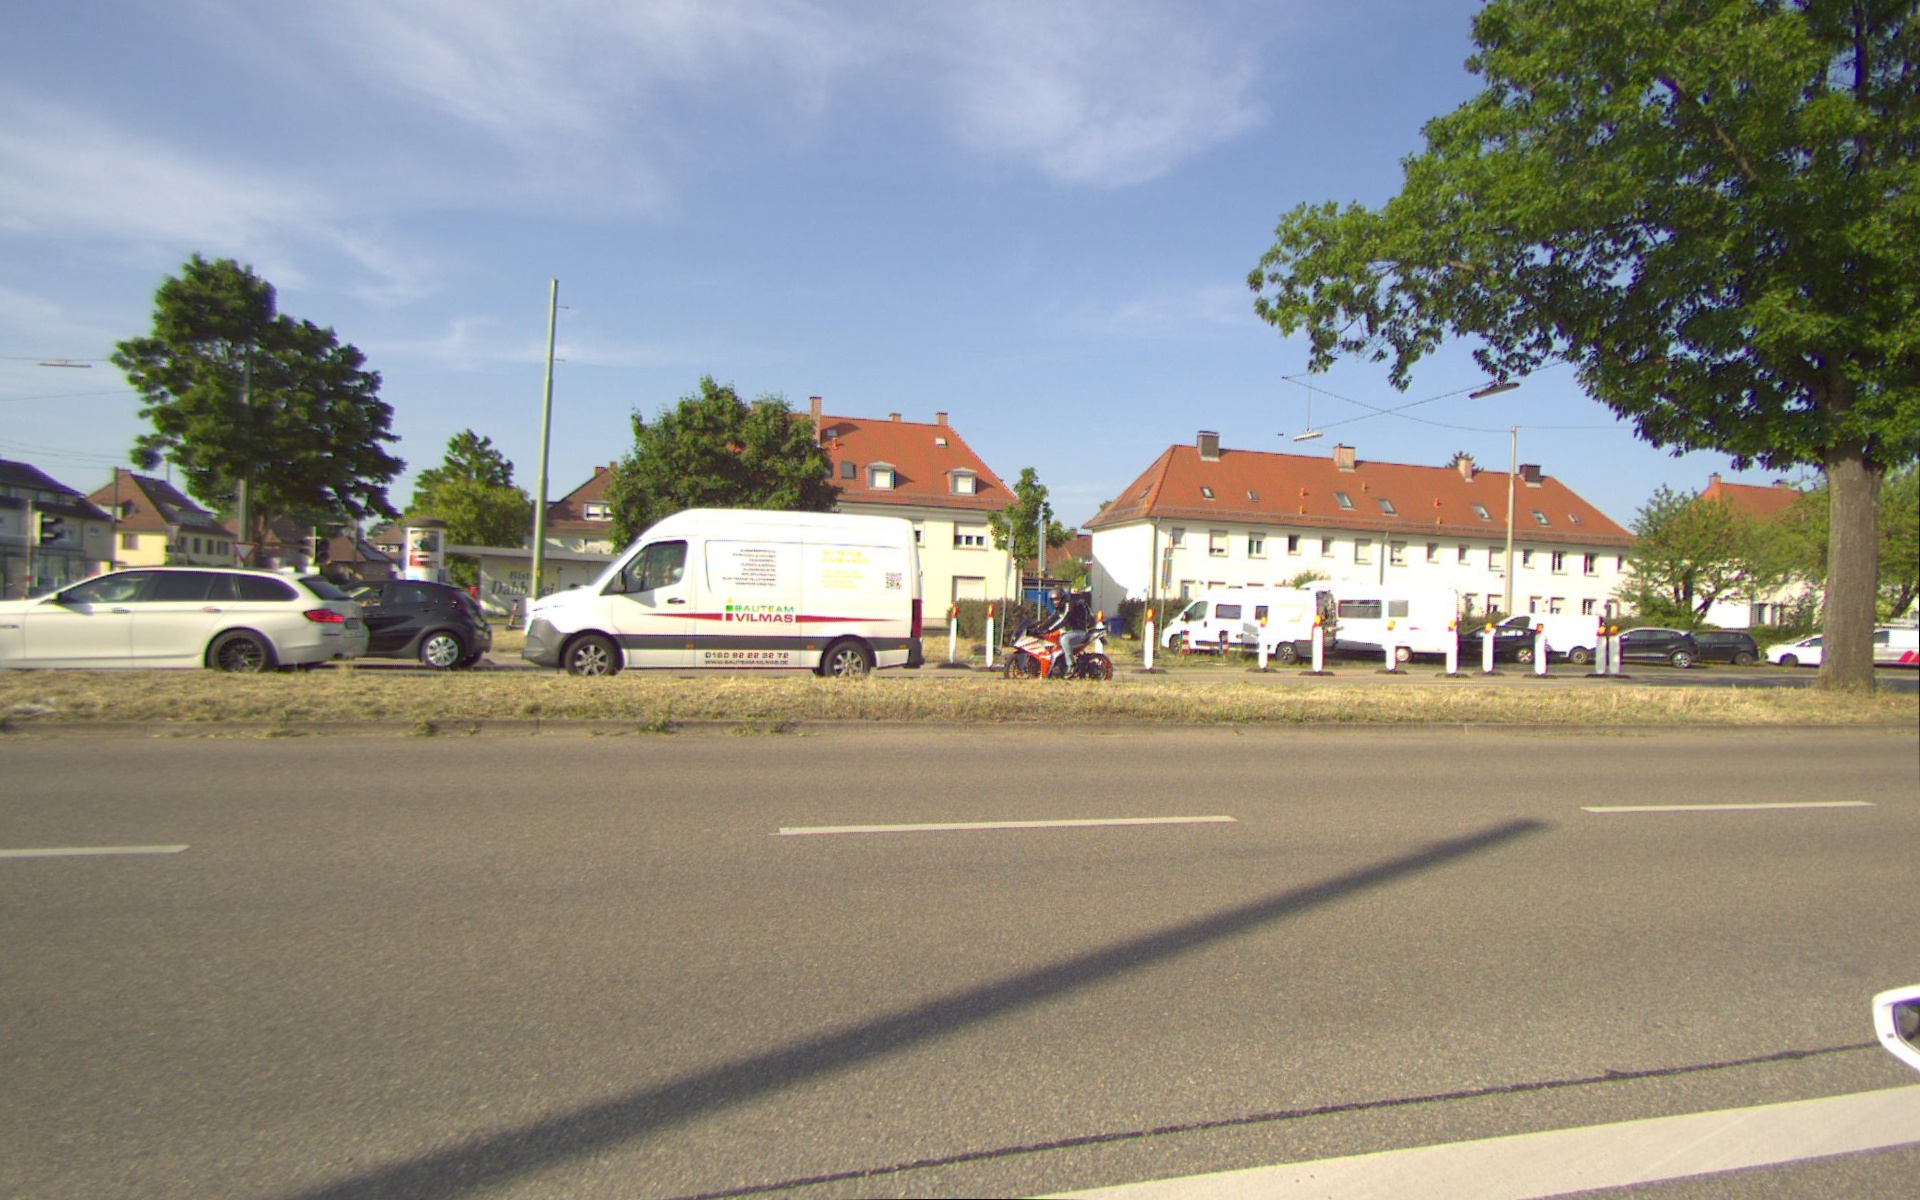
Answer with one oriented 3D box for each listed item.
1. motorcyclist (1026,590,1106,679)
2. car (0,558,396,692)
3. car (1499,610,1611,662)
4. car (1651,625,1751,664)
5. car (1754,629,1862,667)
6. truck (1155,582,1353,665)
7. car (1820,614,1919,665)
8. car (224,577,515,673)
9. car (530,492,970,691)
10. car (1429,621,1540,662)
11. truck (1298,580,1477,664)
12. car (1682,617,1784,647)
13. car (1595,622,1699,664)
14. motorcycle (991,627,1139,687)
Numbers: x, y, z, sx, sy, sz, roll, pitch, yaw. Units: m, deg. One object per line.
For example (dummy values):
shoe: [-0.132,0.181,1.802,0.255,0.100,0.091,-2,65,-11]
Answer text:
motorcyclist: [1.686,0.544,15.997,1.052,1.370,0.677,2,0,-17]
car: [-10.474,0.332,13.187,5.033,1.584,1.832,2,0,-19]
car: [24.262,1.435,41.128,3.838,1.945,1.893,1,-1,28]
car: [32.771,1.951,44.550,3.373,1.534,1.892,1,-1,32]
car: [37.548,2.102,44.561,3.373,1.534,1.892,1,-1,32]
truck: [10.220,0.755,35.296,6.259,2.557,2.268,2,0,39]
car: [43.299,1.837,46.535,4.888,2.261,1.997,1,-1,28]
car: [-9.911,0.433,17.195,3.934,1.472,1.710,2,0,-16]
car: [-3.097,-0.036,15.385,6.127,2.618,1.993,2,0,-16]
car: [20.964,1.651,40.342,3.835,1.475,1.895,1,-1,25]
truck: [15.960,0.757,37.597,5.967,2.892,1.893,1,-1,28]
car: [49.561,2.032,64.556,1.968,1.742,4.962,2,-1,-17]
car: [28.260,1.745,41.451,3.439,1.534,1.892,1,-1,32]
motorcycle: [1.676,0.907,16.007,2.242,0.878,0.688,2,0,-17]
